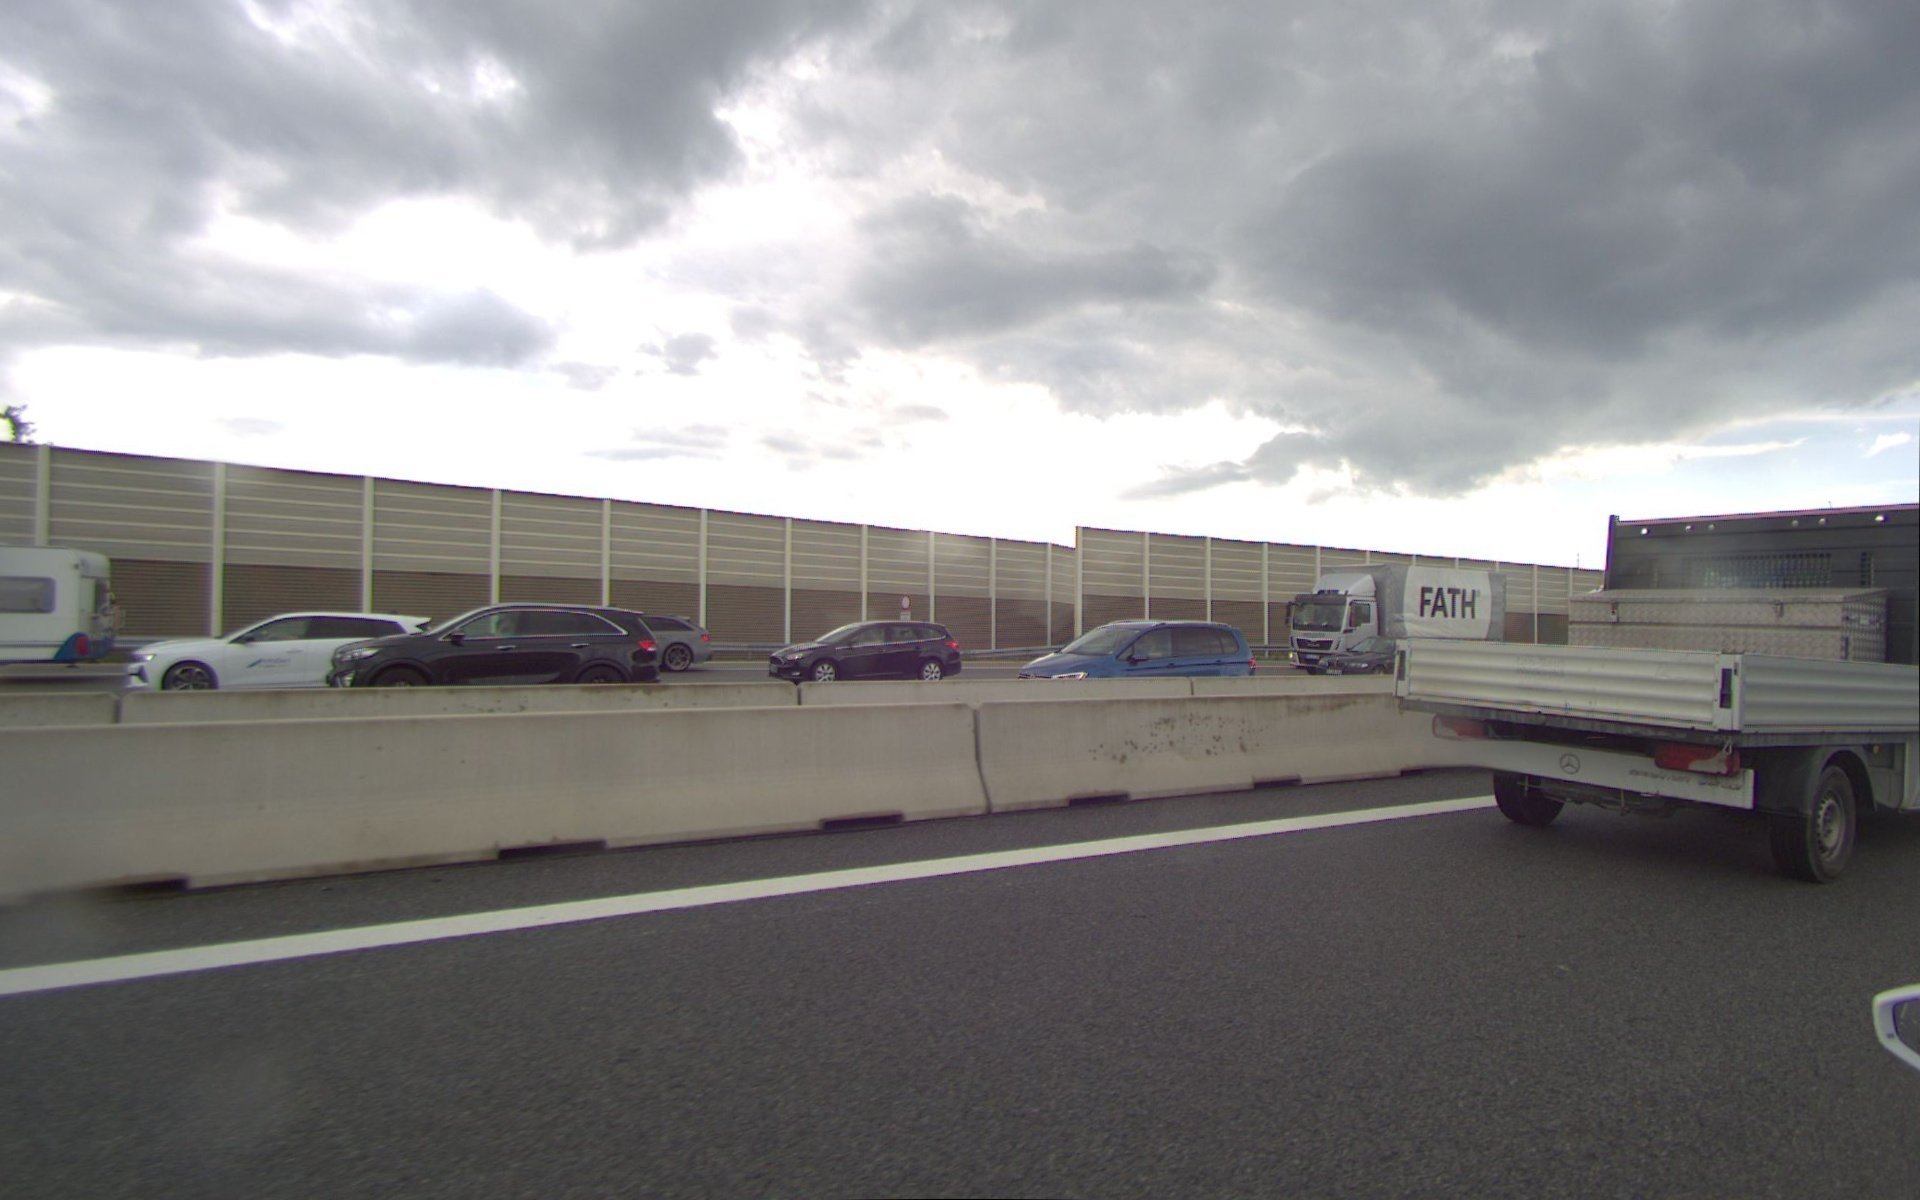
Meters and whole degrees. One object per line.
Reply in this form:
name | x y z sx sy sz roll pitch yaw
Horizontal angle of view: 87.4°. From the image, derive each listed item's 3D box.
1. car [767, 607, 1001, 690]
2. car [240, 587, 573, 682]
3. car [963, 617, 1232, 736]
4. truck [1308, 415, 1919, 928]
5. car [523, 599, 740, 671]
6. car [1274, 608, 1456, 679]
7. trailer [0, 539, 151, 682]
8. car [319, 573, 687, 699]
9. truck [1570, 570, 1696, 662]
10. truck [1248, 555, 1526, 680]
car | -1.701 1.075 23.246 5.030 1.722 2.050 1 -1 -31
car | -9.714 0.645 18.017 4.937 1.511 2.051 2 -1 -29
car | 2.312 1.177 16.579 4.173 1.722 1.864 1 -1 -31
truck | 5.978 0.427 7.669 7.067 2.472 2.295 2 -1 -31
car | -8.455 0.890 26.016 5.030 1.722 2.050 1 -1 -31
car | 10.758 1.127 26.578 4.958 1.722 1.864 1 -1 -31
trailer | -18.767 0.162 18.195 6.013 2.528 2.448 1 -1 -30
car | -7.122 0.551 15.935 5.030 1.722 2.050 1 -1 -31
truck | 31.631 0.798 47.194 5.658 4.088 2.732 2 -1 -30
truck | 13.877 0.611 32.222 9.874 3.574 2.684 2 0 -29
